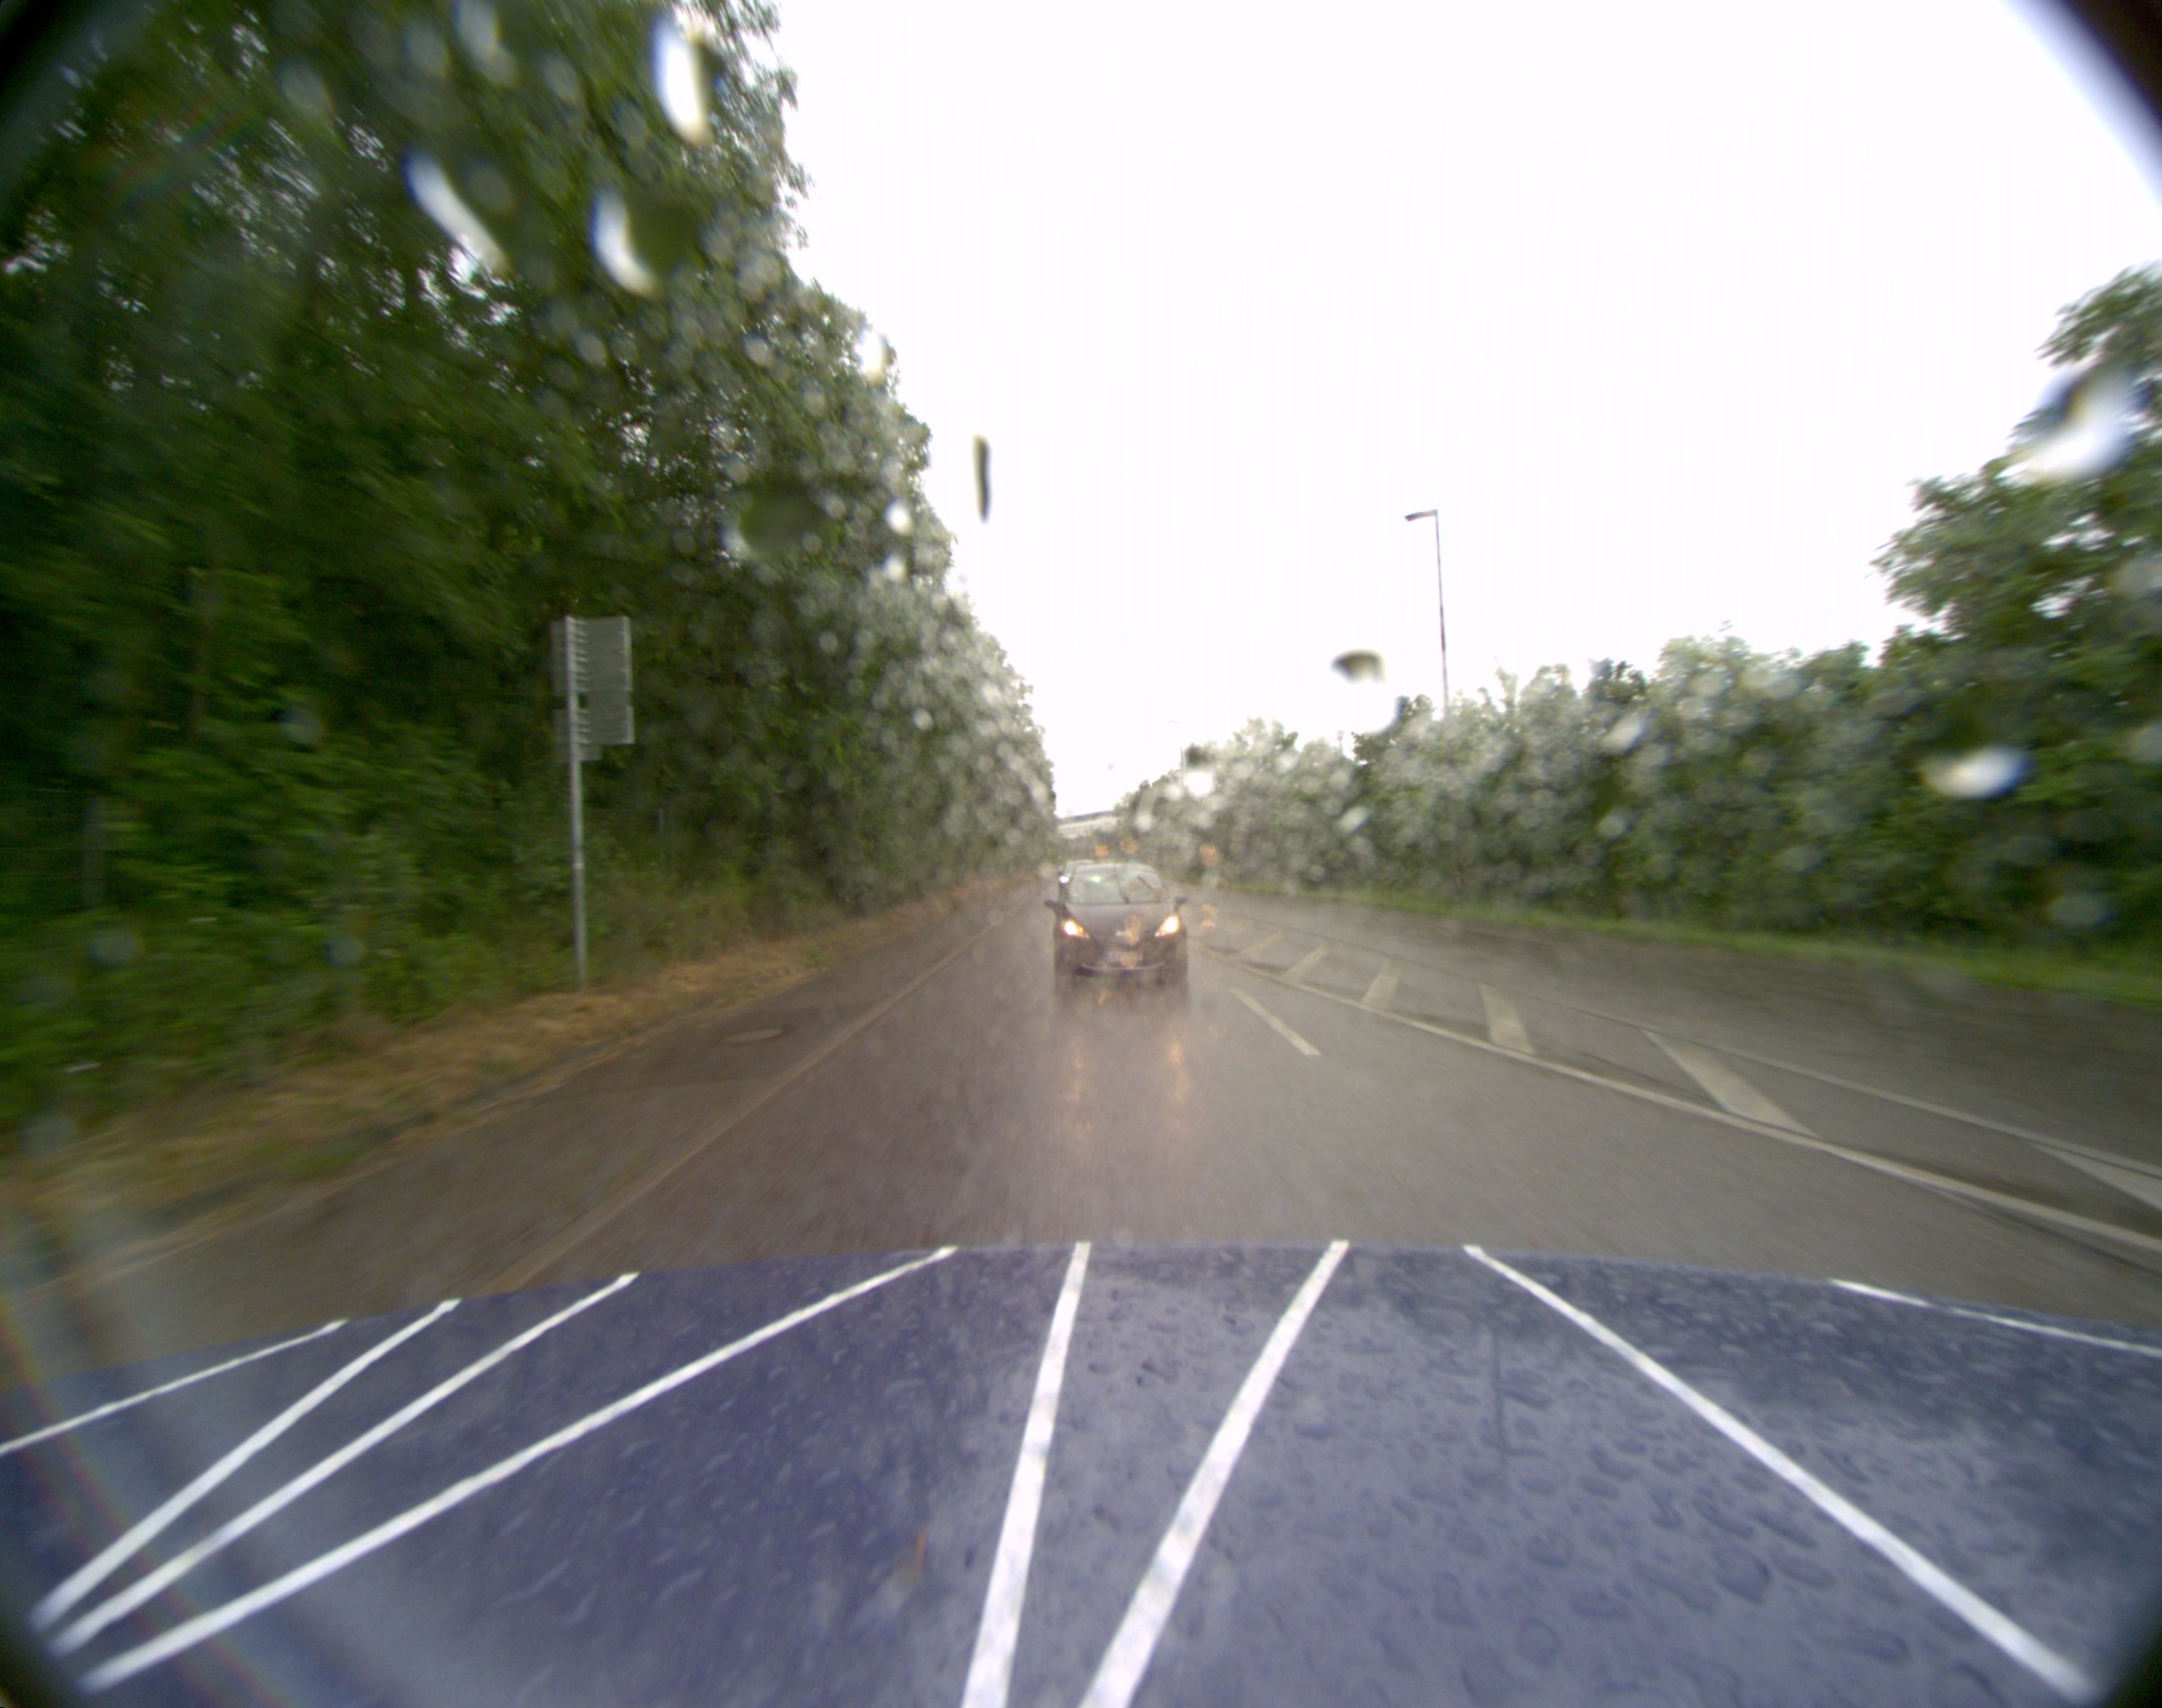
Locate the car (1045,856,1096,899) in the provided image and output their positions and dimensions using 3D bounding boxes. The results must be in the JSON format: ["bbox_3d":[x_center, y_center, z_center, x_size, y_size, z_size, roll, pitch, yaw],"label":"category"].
[{"bbox_3d":[-0.412,0.915,32.081,1.998,1.576,3.999,-2,1,0],"label":"car"}]

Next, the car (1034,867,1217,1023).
[{"bbox_3d":[0.468,0.980,10.039,1.839,1.404,4.342,-3,1,0],"label":"car"}]
